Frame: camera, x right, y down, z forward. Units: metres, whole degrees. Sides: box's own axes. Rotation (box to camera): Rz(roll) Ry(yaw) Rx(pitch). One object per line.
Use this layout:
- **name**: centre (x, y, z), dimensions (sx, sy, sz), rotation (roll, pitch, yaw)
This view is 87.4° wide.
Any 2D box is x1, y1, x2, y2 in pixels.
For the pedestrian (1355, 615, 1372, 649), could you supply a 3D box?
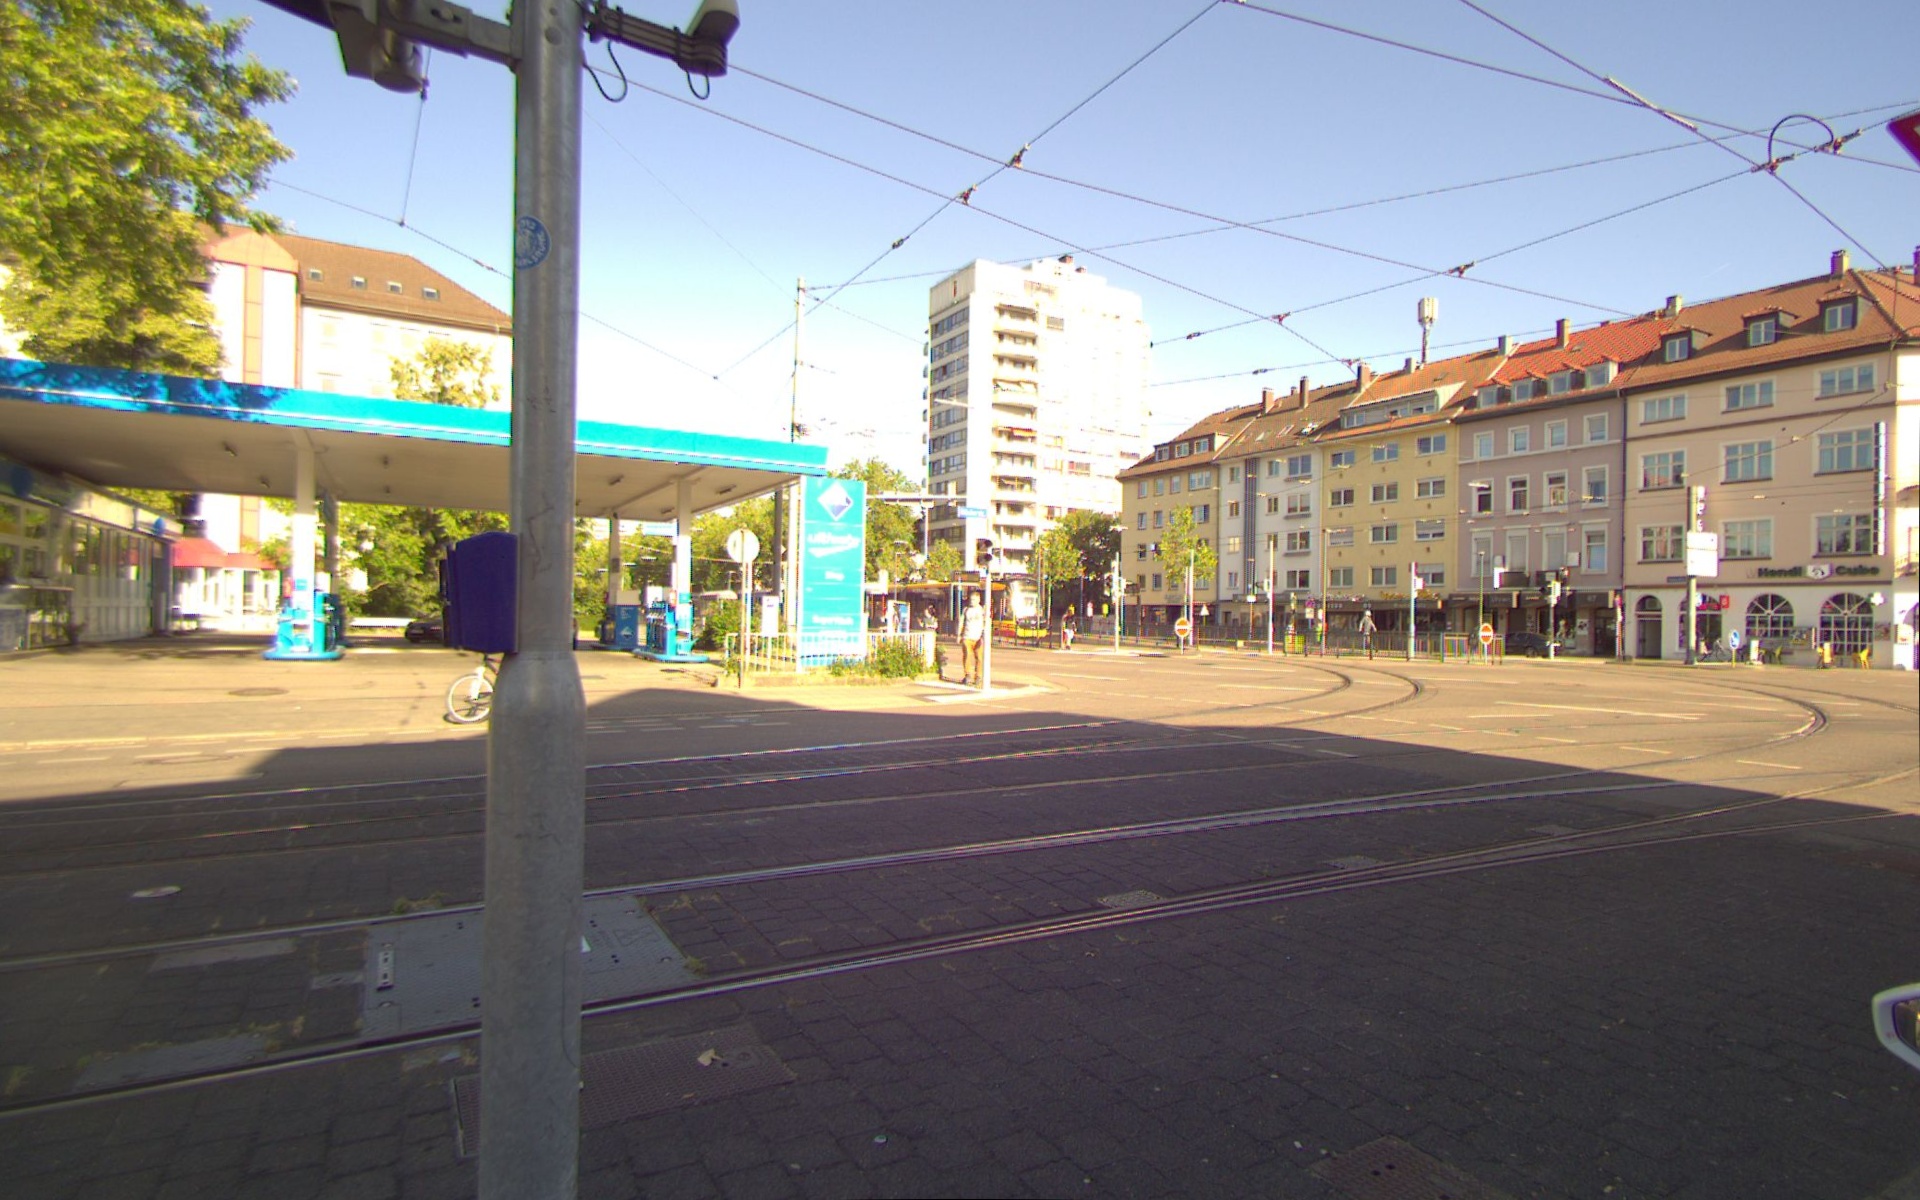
- **pedestrian**: centre (20.016, 1.592, 49.857), dimensions (0.570, 1.649, 0.522), rotation (2, 0, -31)

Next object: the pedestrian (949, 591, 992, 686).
- **pedestrian**: centre (0.226, 0.771, 20.580), dimensions (0.778, 1.893, 0.674), rotation (2, 0, 6)

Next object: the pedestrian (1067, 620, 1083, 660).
- **pedestrian**: centre (4.919, 1.704, 42.843), dimensions (0.575, 1.686, 0.525), rotation (2, 0, 15)

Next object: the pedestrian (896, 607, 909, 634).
- **pedestrian**: centre (-3.422, 1.213, 59.989), dimensions (0.580, 1.613, 0.520), rotation (2, 0, -31)

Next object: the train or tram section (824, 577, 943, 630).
- **train or tram section**: centre (-5.458, 0.177, 67.886), dimensions (2.751, 3.273, 12.286), rotation (2, 0, -31)

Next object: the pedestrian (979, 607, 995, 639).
- **pedestrian**: centre (1.359, 1.142, 49.922), dimensions (0.580, 1.613, 0.520), rotation (2, 0, -31)

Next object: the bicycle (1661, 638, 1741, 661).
- **bicycle**: centre (37.503, 2.479, 50.903), dimensions (0.989, 0.993, 3.115), rotation (2, 0, -29)

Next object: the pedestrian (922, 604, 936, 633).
- **pedestrian**: centre (-1.728, 1.043, 56.242), dimensions (0.580, 1.613, 0.520), rotation (2, 0, -31)

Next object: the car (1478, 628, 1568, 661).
- **car**: centre (30.858, 2.403, 55.147), dimensions (1.970, 1.692, 3.981), rotation (1, -1, -21)

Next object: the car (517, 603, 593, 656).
- **car**: centre (-12.142, 0.851, 29.998), dimensions (1.764, 1.411, 3.455), rotation (2, 0, -28)

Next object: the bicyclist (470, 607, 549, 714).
- **bicyclist**: centre (-6.078, 0.794, 13.558), dimensions (0.552, 1.384, 0.798), rotation (2, 0, 44)

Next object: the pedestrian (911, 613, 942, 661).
- **pedestrian**: centre (-1.143, 1.266, 34.472), dimensions (0.693, 1.608, 0.821), rotation (0, -1, 32)

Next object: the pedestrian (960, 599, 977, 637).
- **pedestrian**: centre (0.431, 0.910, 51.135), dimensions (0.666, 1.913, 0.520), rotation (2, 0, -31)

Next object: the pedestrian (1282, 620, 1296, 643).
- **pedestrian**: centre (23.761, 2.292, 72.478), dimensions (0.693, 1.656, 0.629), rotation (2, 0, -33)

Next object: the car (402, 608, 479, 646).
- **car**: centre (-19.625, 0.995, 38.079), dimensions (1.637, 1.316, 3.473), rotation (2, 0, -12)

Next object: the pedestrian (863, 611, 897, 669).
- **pedestrian**: centre (-2.343, 1.156, 29.419), dimensions (0.675, 1.656, 0.694), rotation (2, 0, -35)

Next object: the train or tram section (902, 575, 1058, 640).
- **train or tram section**: centre (0.787, 0.342, 57.402), dimensions (2.751, 3.273, 12.286), rotation (2, 0, -31)

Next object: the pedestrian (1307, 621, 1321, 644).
- **pedestrian**: centre (25.337, 2.338, 71.973), dimensions (0.693, 1.656, 0.629), rotation (2, 0, -33)

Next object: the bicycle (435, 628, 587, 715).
- **bicycle**: centre (-6.056, 0.941, 13.620), dimensions (0.567, 1.084, 1.784), rotation (2, 0, 44)
